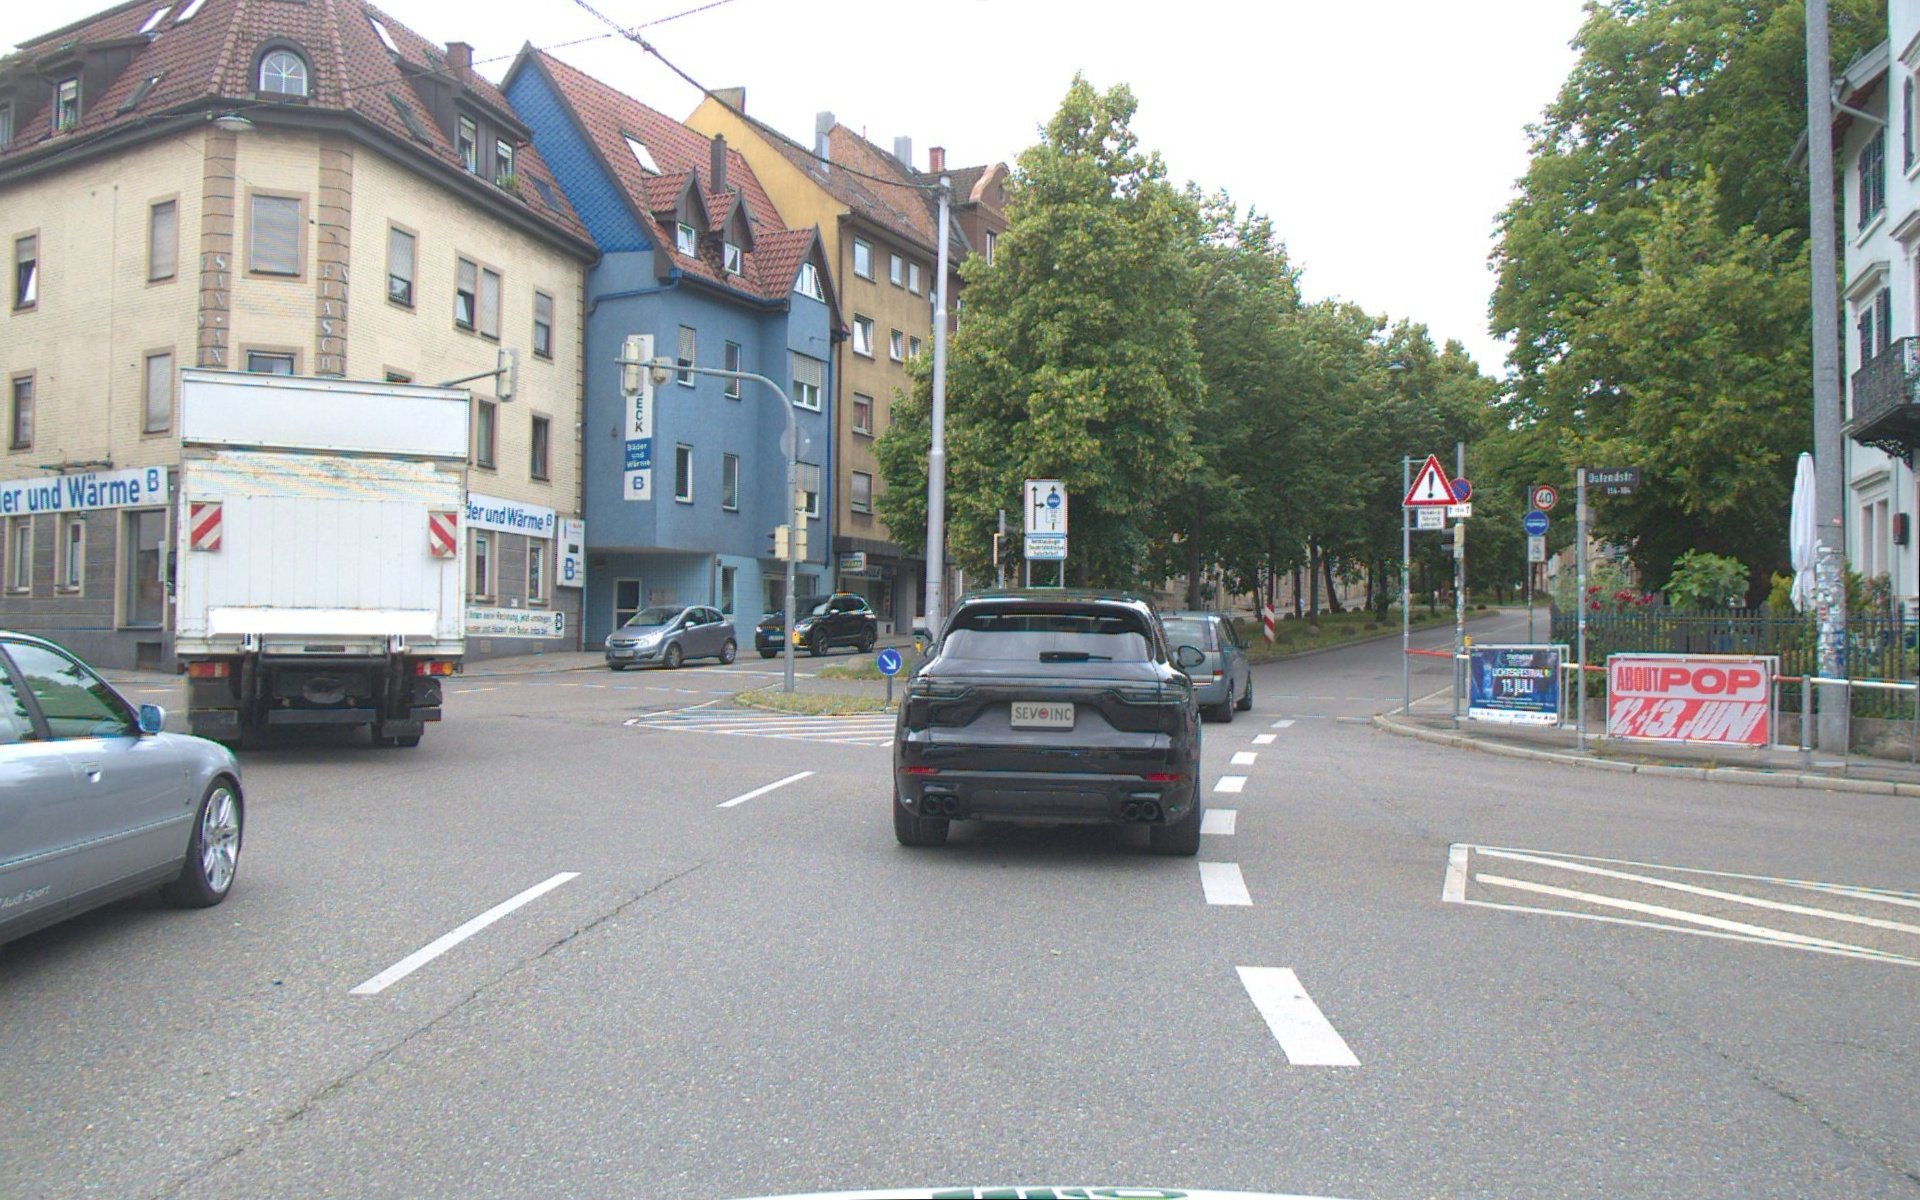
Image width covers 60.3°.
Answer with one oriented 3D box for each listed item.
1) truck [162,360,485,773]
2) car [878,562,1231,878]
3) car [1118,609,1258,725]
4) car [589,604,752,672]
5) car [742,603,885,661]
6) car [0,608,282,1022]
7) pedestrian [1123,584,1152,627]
[{"bbox_3d":[-7.408,-0.289,18.866,2.689,3.606,8.358,1,0,-24],"label":"truck"},{"bbox_3d":[0.766,0.705,11.814,1.989,1.753,4.503,2,0,6],"label":"car"},{"bbox_3d":[3.562,0.991,25.392,1.614,1.583,3.585,2,-1,16],"label":"car"},{"bbox_3d":[-6.744,0.889,38.966,1.682,1.502,4.215,-1,-1,25],"label":"car"},{"bbox_3d":[-3.972,0.842,45.660,1.833,1.440,4.695,0,1,25],"label":"car"},{"bbox_3d":[-4.217,0.768,6.475,1.596,1.389,4.125,2,0,-4],"label":"car"},{"bbox_3d":[8.628,0.282,80.443,1.168,2.049,0.989,1,0,22],"label":"pedestrian"}]
